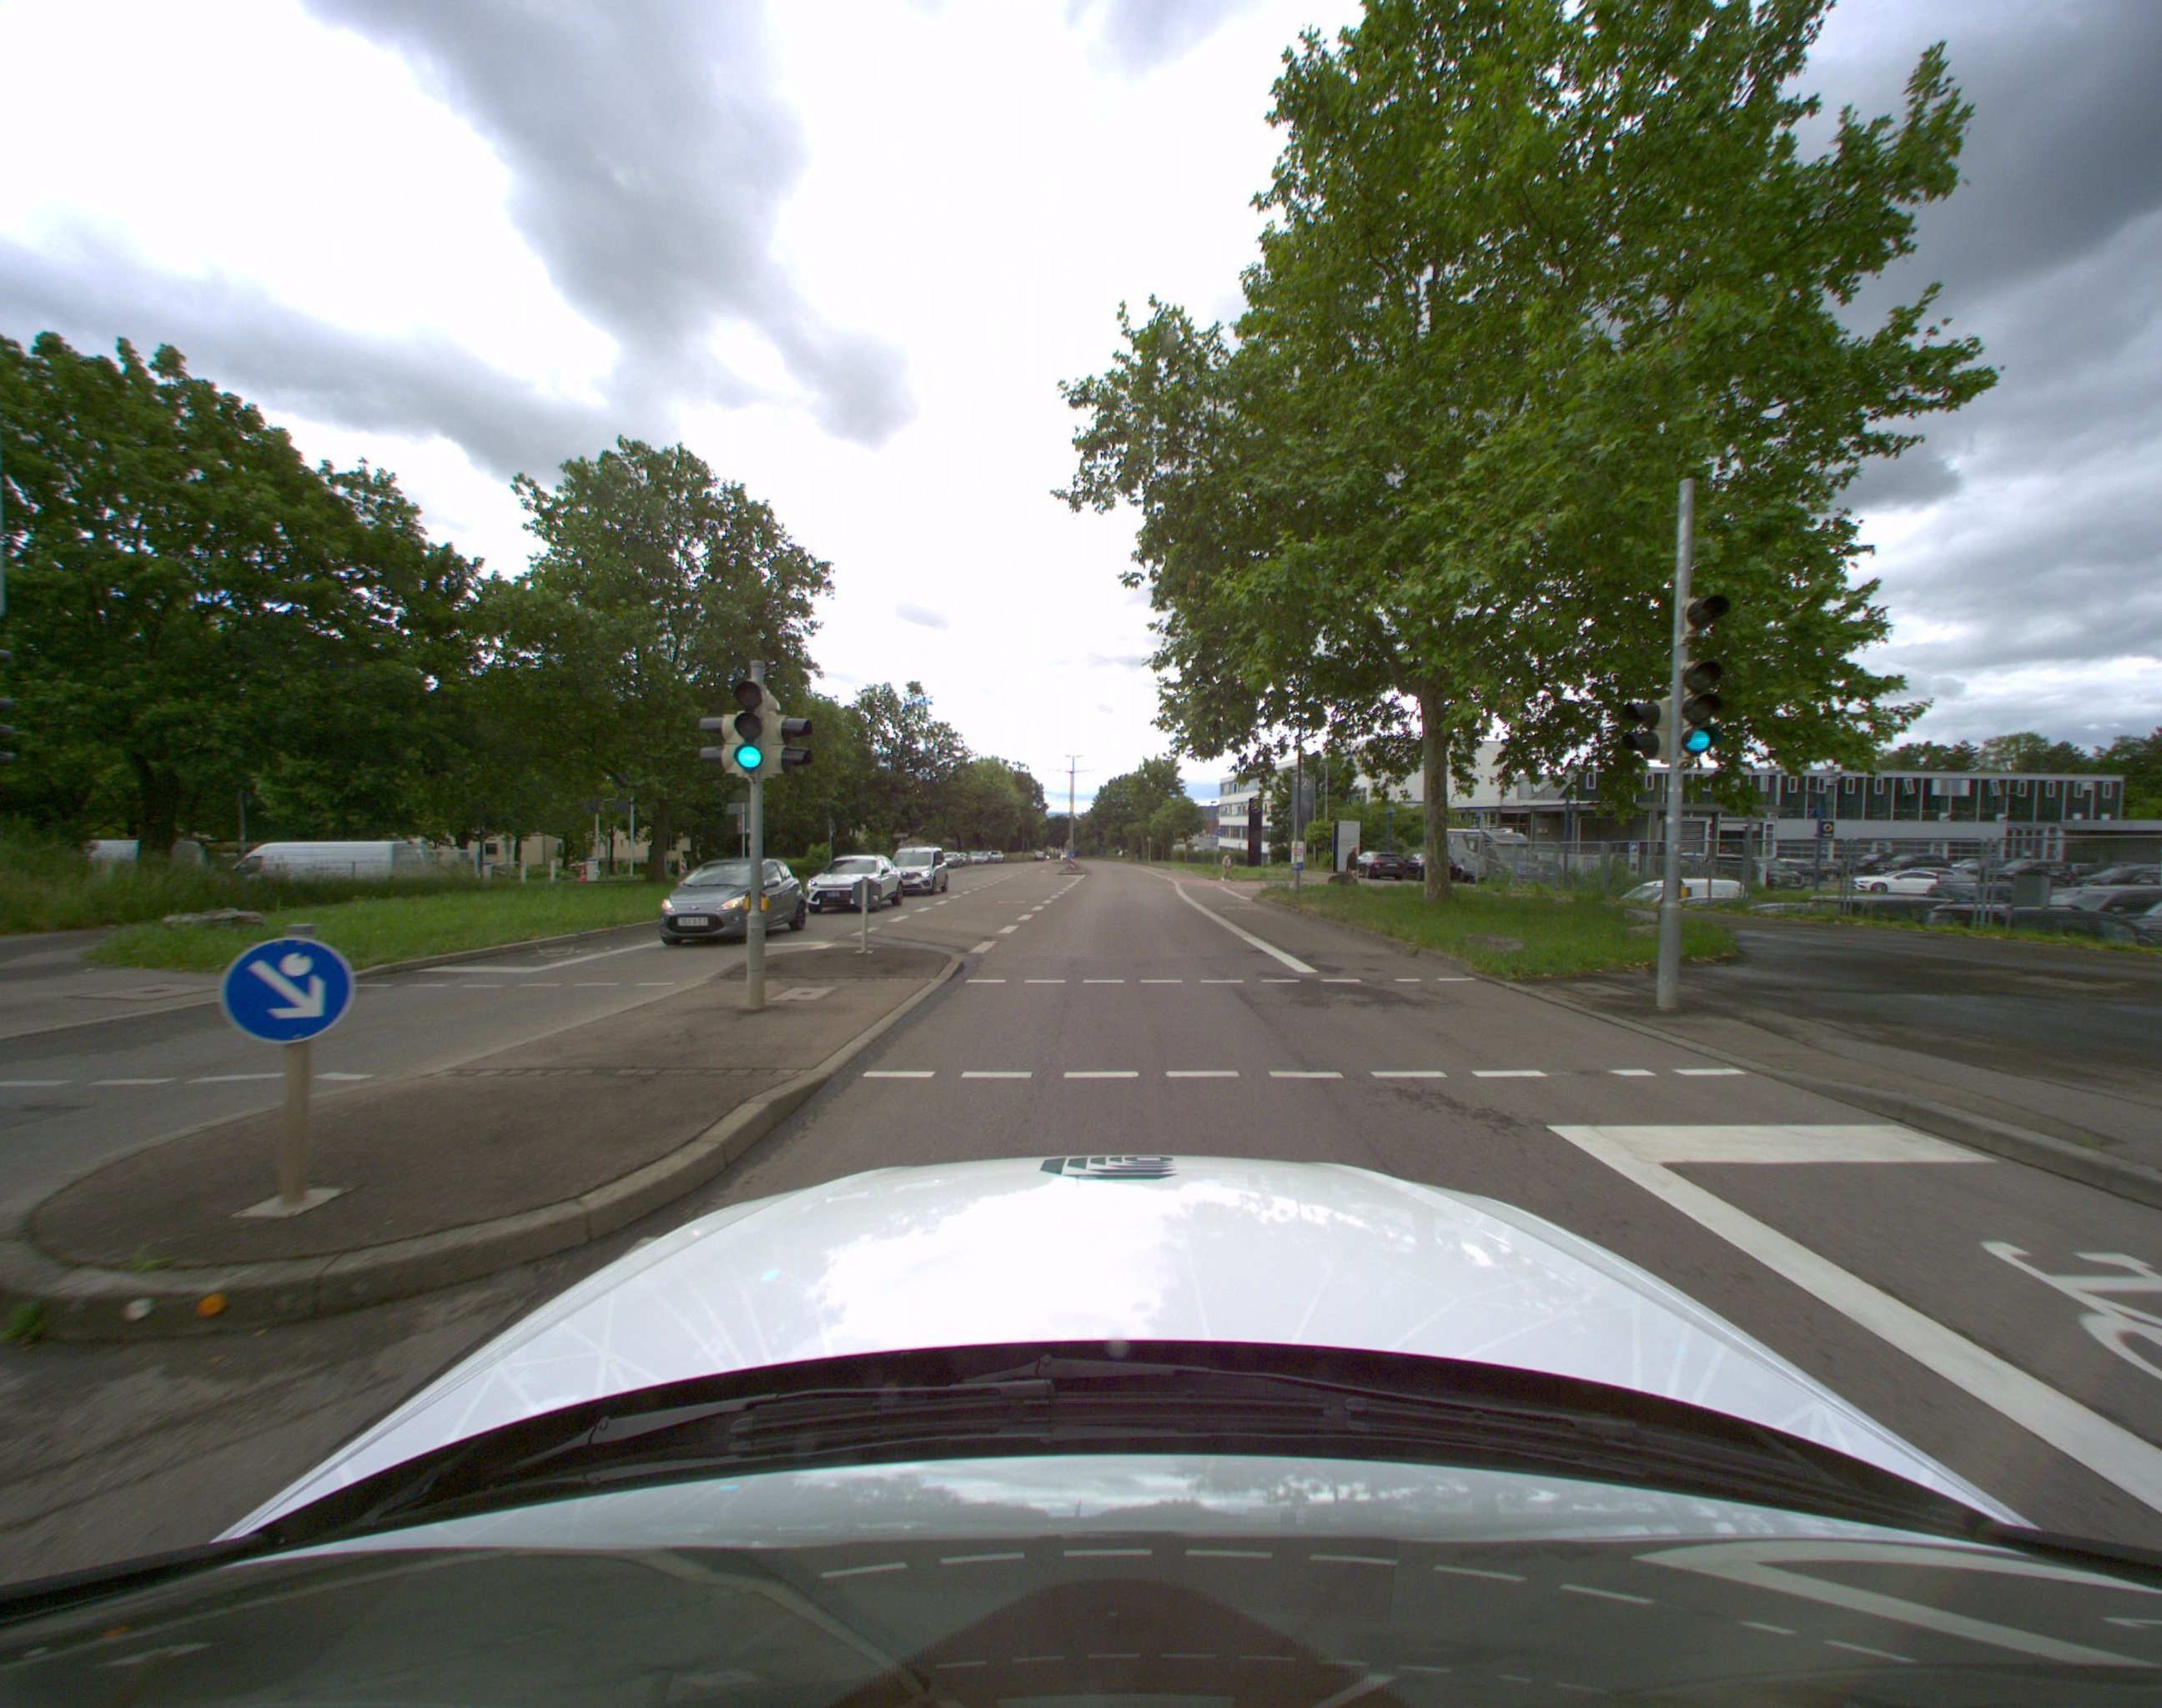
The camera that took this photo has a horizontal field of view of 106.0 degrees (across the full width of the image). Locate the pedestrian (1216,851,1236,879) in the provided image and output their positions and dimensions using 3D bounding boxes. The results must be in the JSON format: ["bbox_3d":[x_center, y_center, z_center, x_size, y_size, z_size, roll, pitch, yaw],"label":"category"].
[{"bbox_3d":[7.716,0.581,43.247,0.791,1.463,0.744,0,0,-18],"label":"pedestrian"}]

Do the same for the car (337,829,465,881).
[{"bbox_3d":[-36.070,0.048,43.286,4.956,2.663,1.997,0,0,-4],"label":"car"}]

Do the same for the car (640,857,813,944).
[{"bbox_3d":[-6.384,0.762,15.105,1.542,1.331,3.654,-2,0,0],"label":"car"}]

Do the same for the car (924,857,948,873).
[{"bbox_3d":[-13.357,1.019,75.177,1.668,1.403,3.996,0,0,-2],"label":"car"}]

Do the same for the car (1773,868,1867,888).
[{"bbox_3d":[38.558,1.226,42.526,3.627,0.978,1.413,0,0,0],"label":"car"}]

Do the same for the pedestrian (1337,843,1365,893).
[{"bbox_3d":[9.904,0.494,29.859,0.739,1.801,0.867,0,0,36],"label":"pedestrian"}]

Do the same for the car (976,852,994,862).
[{"bbox_3d":[-12.346,0.373,105.278,1.666,1.304,4.003,0,0,3],"label":"car"}]

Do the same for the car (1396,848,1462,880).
[{"bbox_3d":[18.298,0.497,42.983,1.704,1.508,4.346,2,0,2],"label":"car"}]

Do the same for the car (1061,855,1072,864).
[{"bbox_3d":[-2.123,0.823,120.680,1.606,1.304,4.000,0,0,1],"label":"car"}]

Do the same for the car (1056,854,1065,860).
[{"bbox_3d":[-4.302,0.617,170.128,1.606,1.304,4.000,0,0,1],"label":"car"}]

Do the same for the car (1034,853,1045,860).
[{"bbox_3d":[-7.467,0.444,148.216,1.766,1.304,4.000,0,0,1],"label":"car"}]

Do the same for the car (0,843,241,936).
[{"bbox_3d":[-28.135,0.940,22.931,6.029,2.475,2.655,0,0,-3],"label":"car"}]

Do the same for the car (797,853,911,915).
[{"bbox_3d":[-6.294,0.760,23.183,1.840,1.520,4.814,-2,0,0],"label":"car"}]

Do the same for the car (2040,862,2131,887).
[{"bbox_3d":[64.622,1.278,52.449,3.621,1.528,1.625,0,0,5],"label":"car"}]

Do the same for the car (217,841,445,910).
[{"bbox_3d":[-28.290,0.763,30.948,6.029,2.475,2.655,0,0,-3],"label":"car"}]

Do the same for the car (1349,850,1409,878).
[{"bbox_3d":[15.586,0.490,42.844,1.704,1.354,4.346,0,0,2],"label":"car"}]

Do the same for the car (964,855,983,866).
[{"bbox_3d":[-13.148,0.771,99.480,1.677,1.304,3.976,0,0,-18],"label":"car"}]

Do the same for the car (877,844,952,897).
[{"bbox_3d":[-6.207,0.569,30.898,1.840,1.803,4.649,-2,0,0],"label":"car"}]

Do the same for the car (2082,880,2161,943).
[{"bbox_3d":[29.521,1.504,21.515,3.979,1.552,1.997,0,0,-4],"label":"car"}]

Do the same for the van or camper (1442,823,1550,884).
[{"bbox_3d":[21.113,-0.044,41.914,1.960,2.868,6.916,0,0,-1],"label":"van or camper"}]

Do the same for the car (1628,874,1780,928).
[{"bbox_3d":[19.998,1.501,26.213,3.726,1.618,1.689,0,0,-4],"label":"car"}]

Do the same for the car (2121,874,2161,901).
[{"bbox_3d":[63.520,1.946,47.419,3.621,1.528,1.626,0,0,6],"label":"car"}]

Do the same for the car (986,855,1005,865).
[{"bbox_3d":[-11.560,0.860,110.249,1.664,1.304,4.008,0,0,7],"label":"car"}]
